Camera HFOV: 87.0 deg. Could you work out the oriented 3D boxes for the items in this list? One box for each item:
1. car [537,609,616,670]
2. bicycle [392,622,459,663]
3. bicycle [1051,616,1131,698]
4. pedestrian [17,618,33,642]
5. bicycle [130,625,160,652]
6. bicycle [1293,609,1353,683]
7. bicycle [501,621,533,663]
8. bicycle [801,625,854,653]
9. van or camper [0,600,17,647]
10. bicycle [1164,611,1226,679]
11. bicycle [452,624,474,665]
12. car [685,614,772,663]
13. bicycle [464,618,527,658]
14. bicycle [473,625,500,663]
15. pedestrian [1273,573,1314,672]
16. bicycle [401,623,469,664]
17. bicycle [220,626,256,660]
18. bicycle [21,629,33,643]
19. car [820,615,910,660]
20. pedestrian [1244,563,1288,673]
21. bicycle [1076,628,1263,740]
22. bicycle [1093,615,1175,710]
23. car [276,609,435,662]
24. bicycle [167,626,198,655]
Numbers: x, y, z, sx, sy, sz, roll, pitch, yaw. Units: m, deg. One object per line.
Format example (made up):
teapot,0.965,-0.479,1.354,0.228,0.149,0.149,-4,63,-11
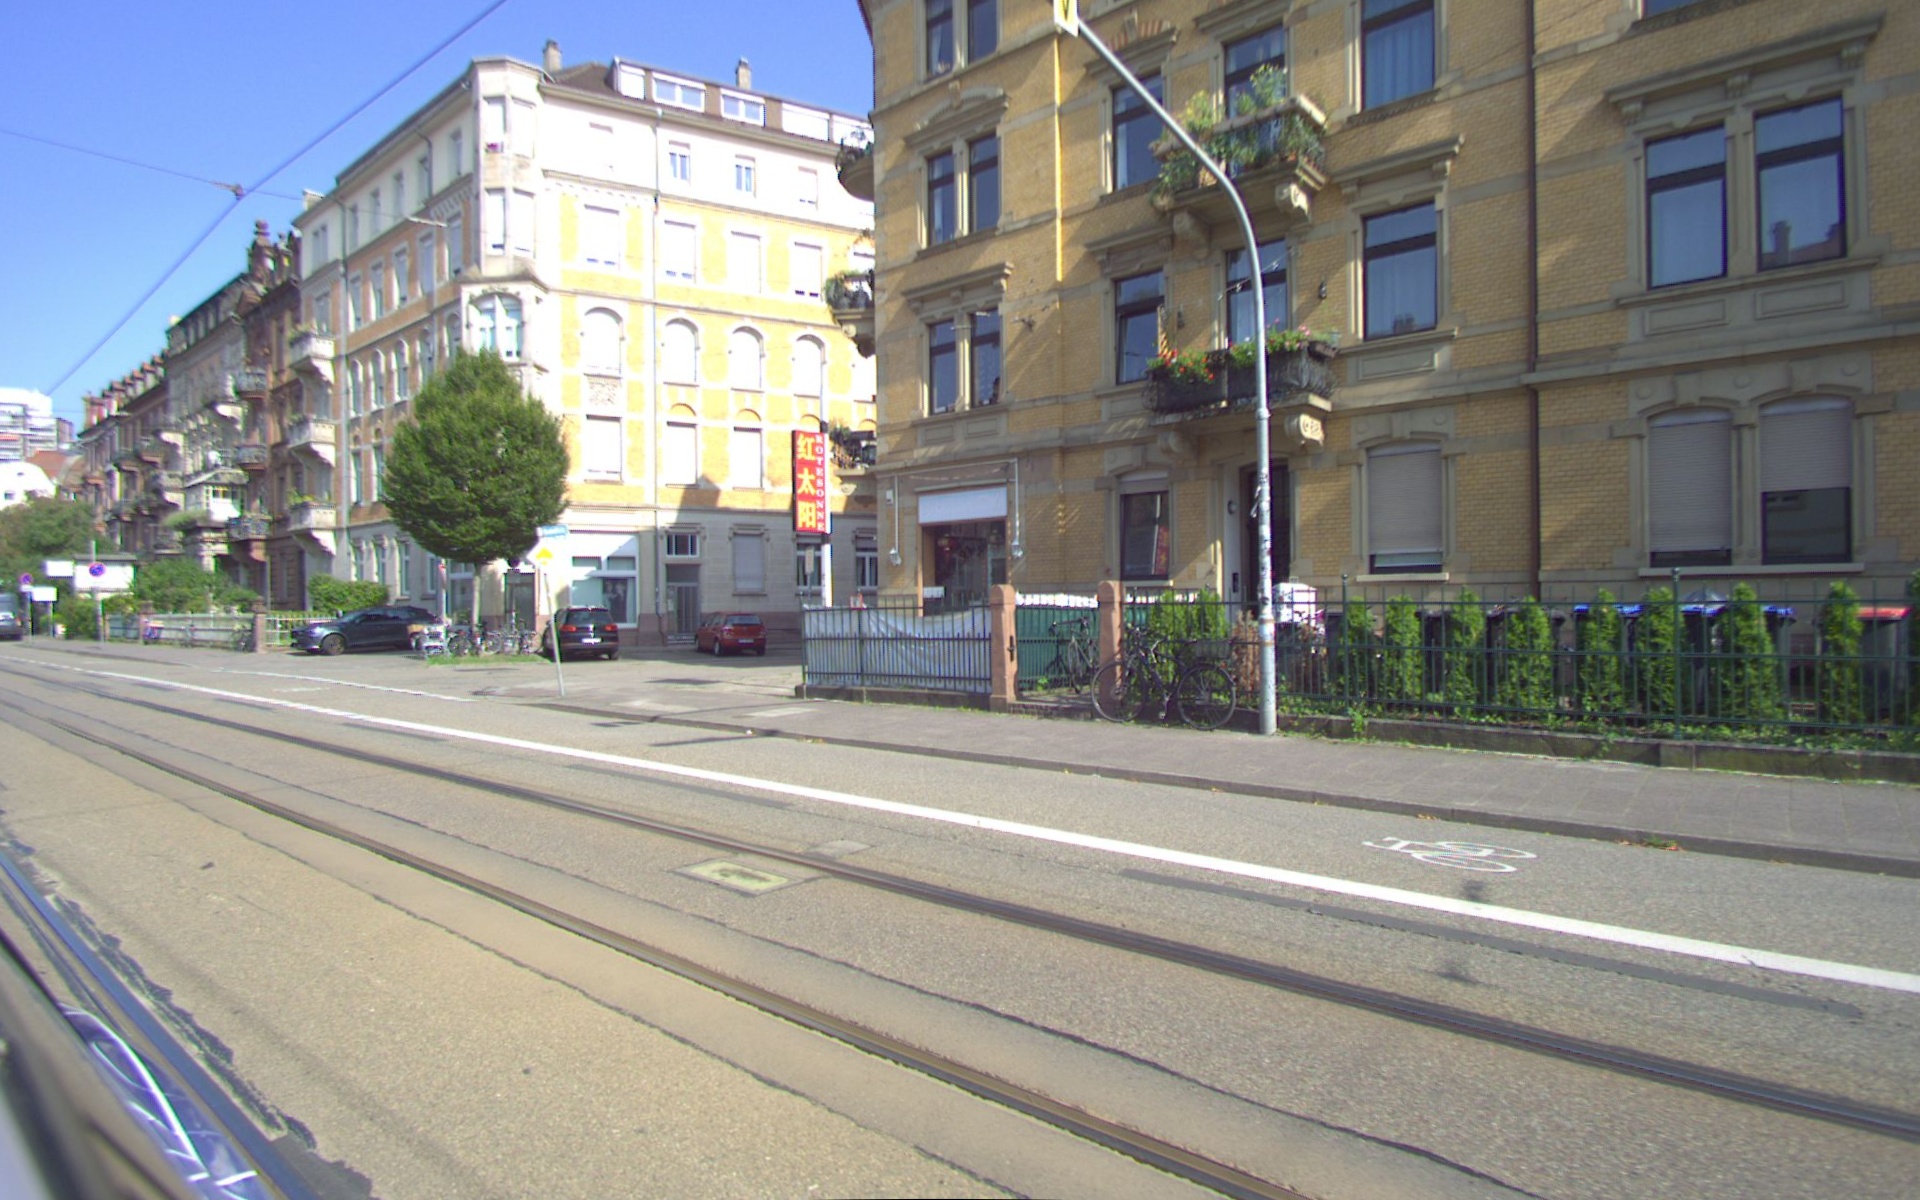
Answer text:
car,-11.861,1.143,31.186,1.738,1.672,3.780,-2,1,-29
bicycle,-16.401,1.288,31.105,0.541,1.206,1.834,-1,-1,29
bicycle,1.833,0.761,14.024,0.416,1.068,1.469,-1,-1,37
pedestrian,-64.680,2.072,70.013,0.631,1.691,0.632,-2,-1,28
bicycle,-34.156,1.617,42.405,1.839,1.066,0.600,-1,3,42
bicycle,5.474,0.669,15.220,0.416,1.068,1.469,-1,-1,37
bicycle,-13.580,1.270,30.996,0.534,1.239,1.777,1,-1,-36
bicycle,-5.245,1.535,40.064,1.977,1.076,0.595,0,-1,-29
van or camper,-56.414,1.335,59.042,2.026,2.664,6.096,1,-1,-43
bicycle,3.850,0.711,16.540,0.416,1.068,1.469,-1,-1,37
bicycle,-14.807,1.313,30.131,0.475,1.168,1.778,0,-1,-30
car,-7.885,1.258,34.233,1.738,1.538,3.779,0,-1,-32
bicycle,-14.887,1.209,32.448,1.744,1.266,0.544,1,-1,-36
bicycle,-14.271,1.314,30.463,0.534,1.098,1.842,0,-1,-31
pedestrian,5.779,0.389,17.528,0.578,1.680,0.546,-1,-1,29
bicycle,-16.009,1.307,30.890,0.541,1.190,1.844,-1,-1,29
bicycle,-24.286,1.424,34.023,1.839,1.066,0.539,-1,3,42
bicycle,-64.984,2.505,70.491,1.702,0.934,0.520,-2,-1,43
car,-3.456,1.287,36.030,1.738,1.466,3.958,0,0,-29
pedestrian,5.310,0.312,17.567,0.572,1.863,0.551,0,-1,1
bicycle,2.248,0.869,11.071,2.002,1.116,0.503,-1,-1,41
bicycle,2.183,0.750,12.602,0.416,1.068,1.345,-1,1,37
car,-20.052,1.114,33.711,2.062,1.554,4.096,0,1,39
bicycle,-29.635,1.530,38.569,1.839,1.066,0.539,-1,3,42
